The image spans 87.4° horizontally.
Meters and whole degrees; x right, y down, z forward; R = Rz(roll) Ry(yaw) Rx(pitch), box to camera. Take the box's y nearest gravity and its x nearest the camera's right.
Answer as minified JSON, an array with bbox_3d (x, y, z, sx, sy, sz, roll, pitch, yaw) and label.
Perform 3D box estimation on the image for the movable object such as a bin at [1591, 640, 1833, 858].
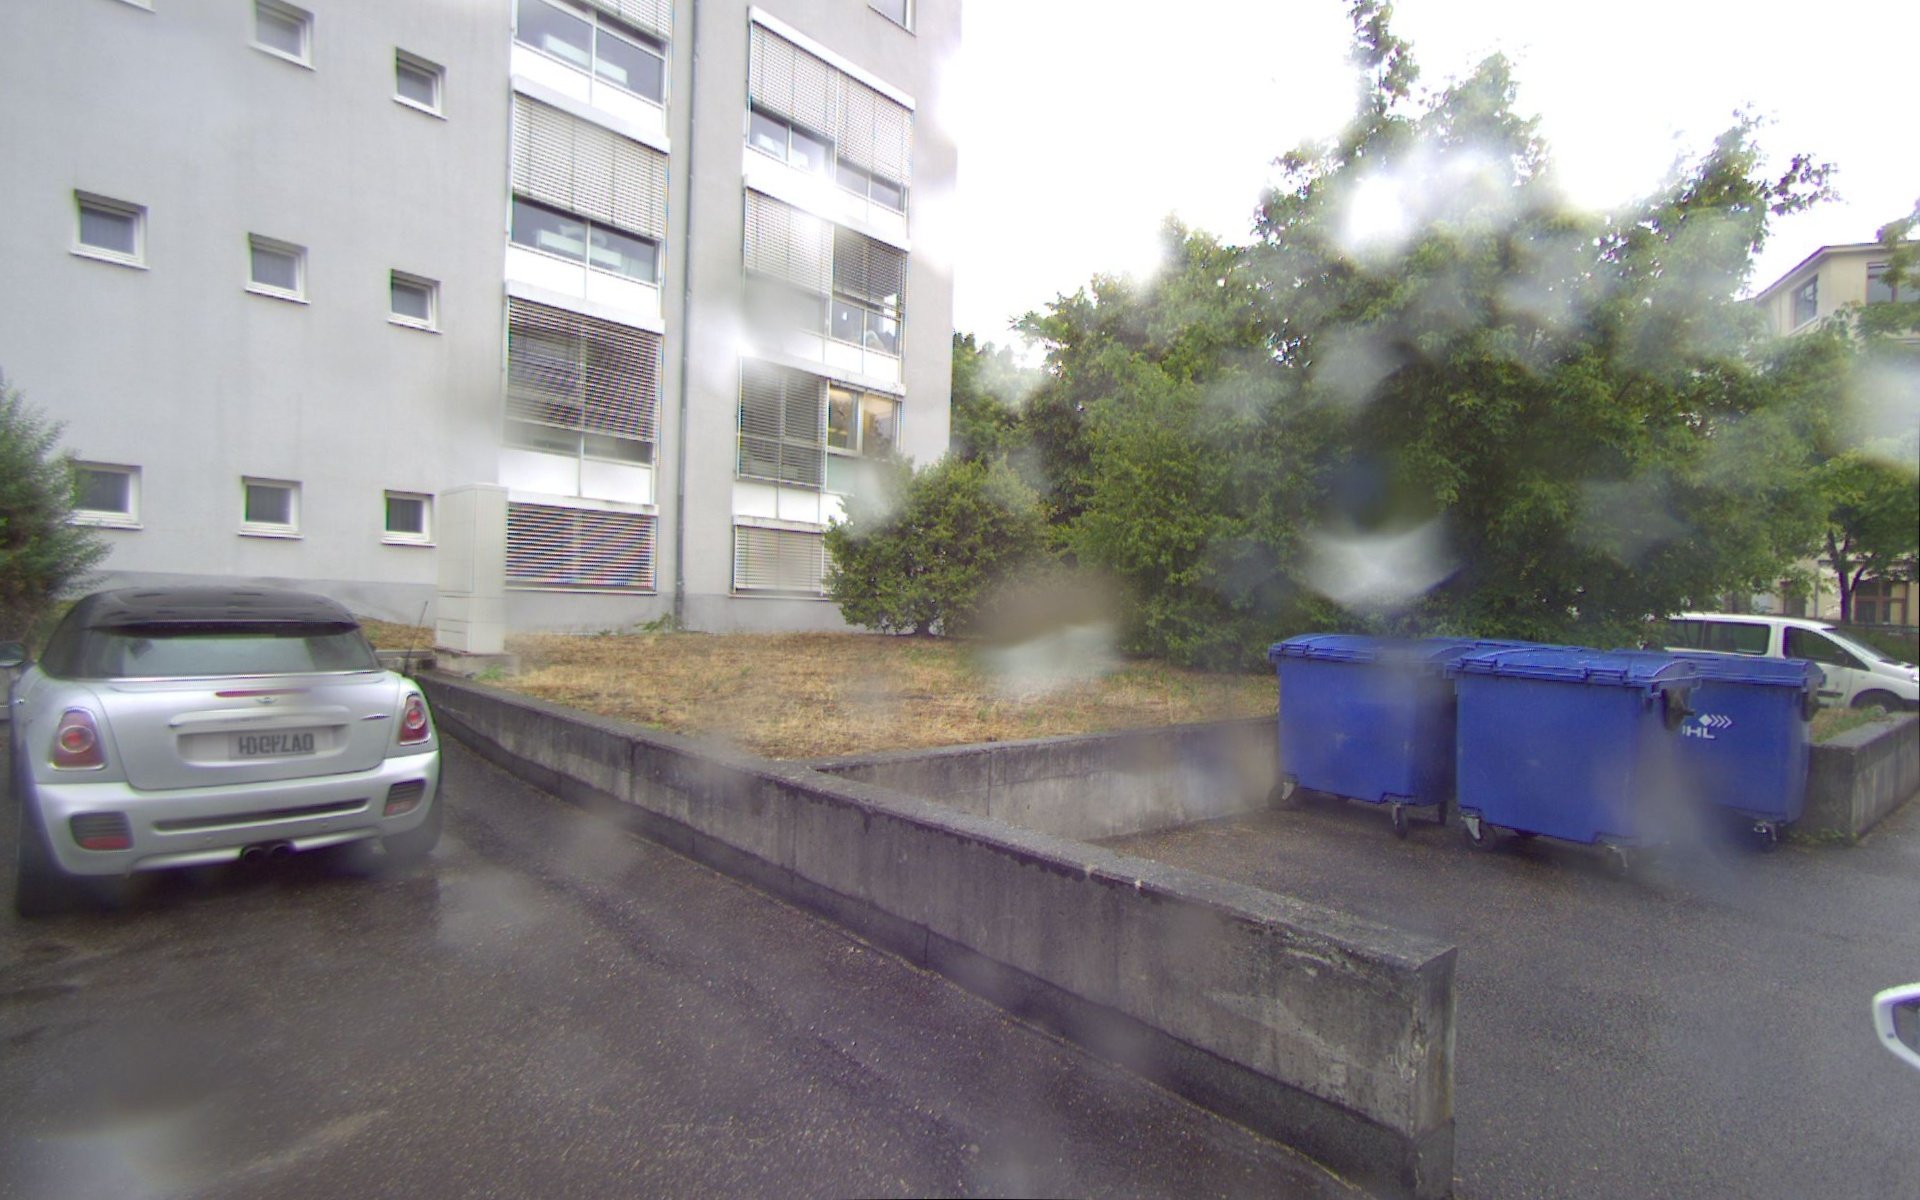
[{"bbox_3d":[5.490,1.006,7.354,0.999,1.355,1.211,1,1,-41],"label":"movable object such as a bin"}]

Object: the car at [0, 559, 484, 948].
[{"bbox_3d":[-4.529,0.547,5.942,1.810,1.351,4.122,1,3,-45],"label":"car"}]

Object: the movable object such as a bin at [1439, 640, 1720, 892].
[{"bbox_3d":[3.974,0.973,6.472,1.106,1.355,1.194,2,0,-37],"label":"movable object such as a bin"}]

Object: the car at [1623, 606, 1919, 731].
[{"bbox_3d":[15.598,1.187,19.003,1.984,2.040,4.740,1,0,-40],"label":"car"}]

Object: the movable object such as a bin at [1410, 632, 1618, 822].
[{"bbox_3d":[4.545,0.971,8.270,0.998,1.355,1.211,0,1,-41],"label":"movable object such as a bin"}]

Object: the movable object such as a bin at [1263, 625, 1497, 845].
[{"bbox_3d":[3.102,0.913,7.451,1.108,1.355,1.192,0,3,-41],"label":"movable object such as a bin"}]
